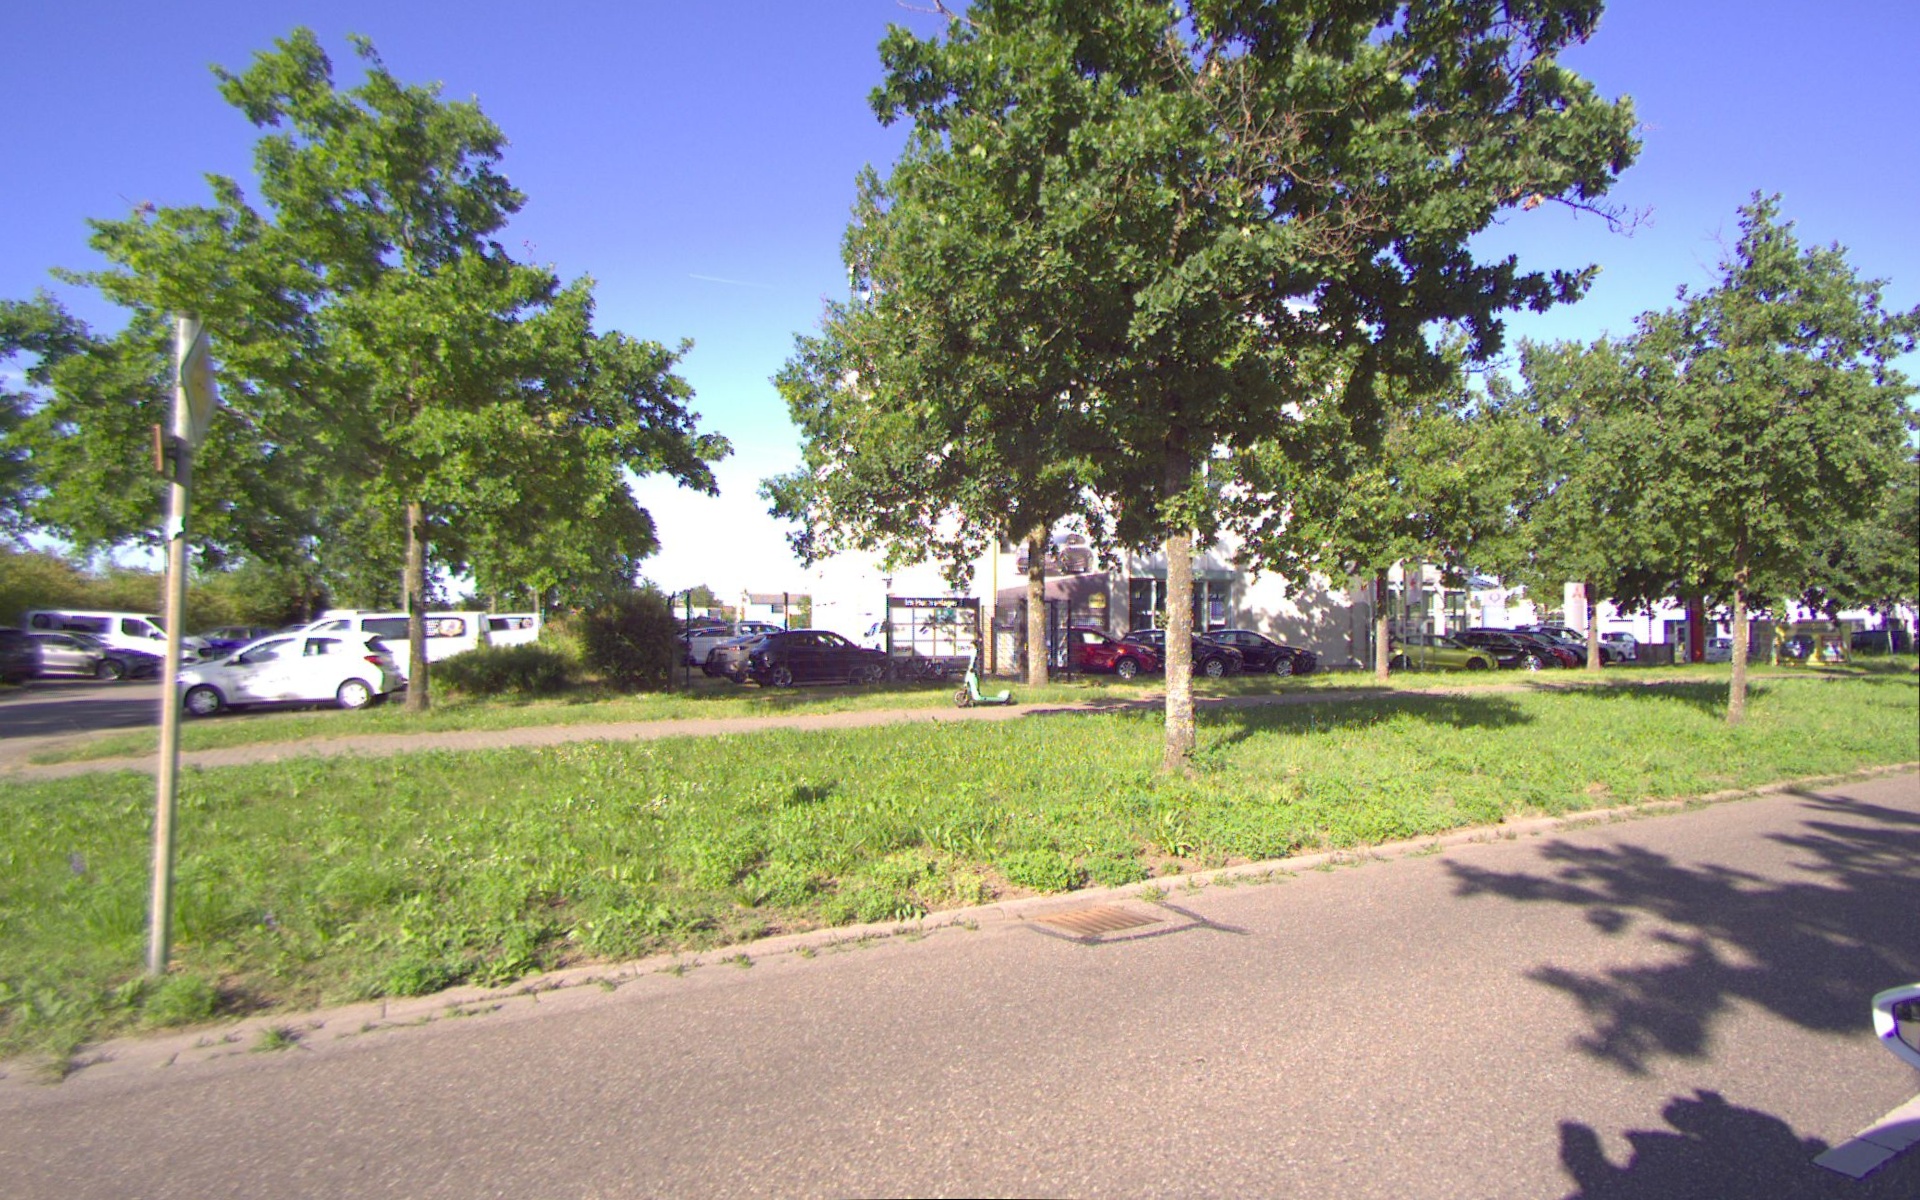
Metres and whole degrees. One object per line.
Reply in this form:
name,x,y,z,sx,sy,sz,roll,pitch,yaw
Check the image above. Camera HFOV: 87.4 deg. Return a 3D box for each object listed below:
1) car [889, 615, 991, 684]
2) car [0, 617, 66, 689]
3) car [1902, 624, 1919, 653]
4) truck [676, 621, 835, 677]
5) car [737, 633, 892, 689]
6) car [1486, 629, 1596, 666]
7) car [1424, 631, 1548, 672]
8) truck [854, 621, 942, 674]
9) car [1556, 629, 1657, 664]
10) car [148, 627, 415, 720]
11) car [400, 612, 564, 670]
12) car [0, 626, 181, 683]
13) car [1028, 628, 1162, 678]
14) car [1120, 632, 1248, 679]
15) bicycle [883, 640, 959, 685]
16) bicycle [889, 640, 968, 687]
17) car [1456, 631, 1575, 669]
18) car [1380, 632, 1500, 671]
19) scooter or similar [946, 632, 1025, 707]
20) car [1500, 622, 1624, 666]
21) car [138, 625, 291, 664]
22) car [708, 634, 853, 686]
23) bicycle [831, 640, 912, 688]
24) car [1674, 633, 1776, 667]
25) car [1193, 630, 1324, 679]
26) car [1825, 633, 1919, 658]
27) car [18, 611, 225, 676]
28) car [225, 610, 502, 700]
car,-0.664,1.379,29.270,1.992,1.807,4.016,1,0,-16
car,-26.468,1.347,25.804,4.801,1.808,1.995,1,-2,-15
car,69.186,2.702,71.365,5.745,2.014,2.024,1,-2,-34
truck,-7.126,1.677,35.057,5.117,1.866,2.019,1,-2,-27
car,-4.042,1.653,28.019,3.949,1.467,1.789,1,-2,-27
car,25.513,2.067,44.280,4.094,1.582,1.997,-1,-2,29
car,20.688,1.999,39.690,4.087,1.558,1.897,-1,-2,19
truck,-2.242,1.598,35.071,2.054,1.646,4.613,1,0,-17
car,37.434,2.643,58.347,1.908,1.931,5.013,0,-2,-14
car,-13.007,1.356,19.553,3.856,1.524,1.992,-2,-1,-19
car,-18.360,1.565,38.919,5.432,1.954,2.361,-2,-1,-19
car,-26.489,1.628,30.561,3.945,1.633,1.989,1,-2,-23
car,4.146,1.586,30.676,3.919,1.467,1.802,0,-2,13
car,7.257,1.760,32.485,3.920,1.467,1.802,0,-2,17
bicycle,-0.993,1.563,25.546,1.869,1.102,0.636,1,-2,-31
bicycle,-0.769,1.542,24.526,1.869,1.102,0.636,1,-2,-31
car,23.127,2.066,41.987,4.089,1.510,2.000,-1,-2,21
car,18.041,1.910,37.937,3.875,1.420,2.000,-1,-2,19
scooter or similar,0.463,1.218,17.905,1.424,1.296,0.393,1,-2,-30
car,28.841,2.083,48.265,4.762,2.040,2.000,-1,-2,19
car,-31.718,1.875,42.879,4.801,1.590,1.995,1,-2,-15
car,-5.360,1.743,30.014,3.949,1.467,1.789,1,-2,-27
bicycle,-2.116,1.512,24.087,1.869,1.102,0.636,1,-2,-31
car,39.505,2.548,51.969,1.933,1.639,3.739,1,-2,-19
car,10.092,1.815,34.019,3.930,1.531,1.797,-1,-1,31
car,57.354,2.826,62.888,1.915,1.499,4.487,1,-2,-25
car,-27.589,1.421,33.242,4.801,2.040,1.995,1,-2,-15
car,-14.265,1.265,24.463,5.356,1.840,2.299,-2,-1,-19
